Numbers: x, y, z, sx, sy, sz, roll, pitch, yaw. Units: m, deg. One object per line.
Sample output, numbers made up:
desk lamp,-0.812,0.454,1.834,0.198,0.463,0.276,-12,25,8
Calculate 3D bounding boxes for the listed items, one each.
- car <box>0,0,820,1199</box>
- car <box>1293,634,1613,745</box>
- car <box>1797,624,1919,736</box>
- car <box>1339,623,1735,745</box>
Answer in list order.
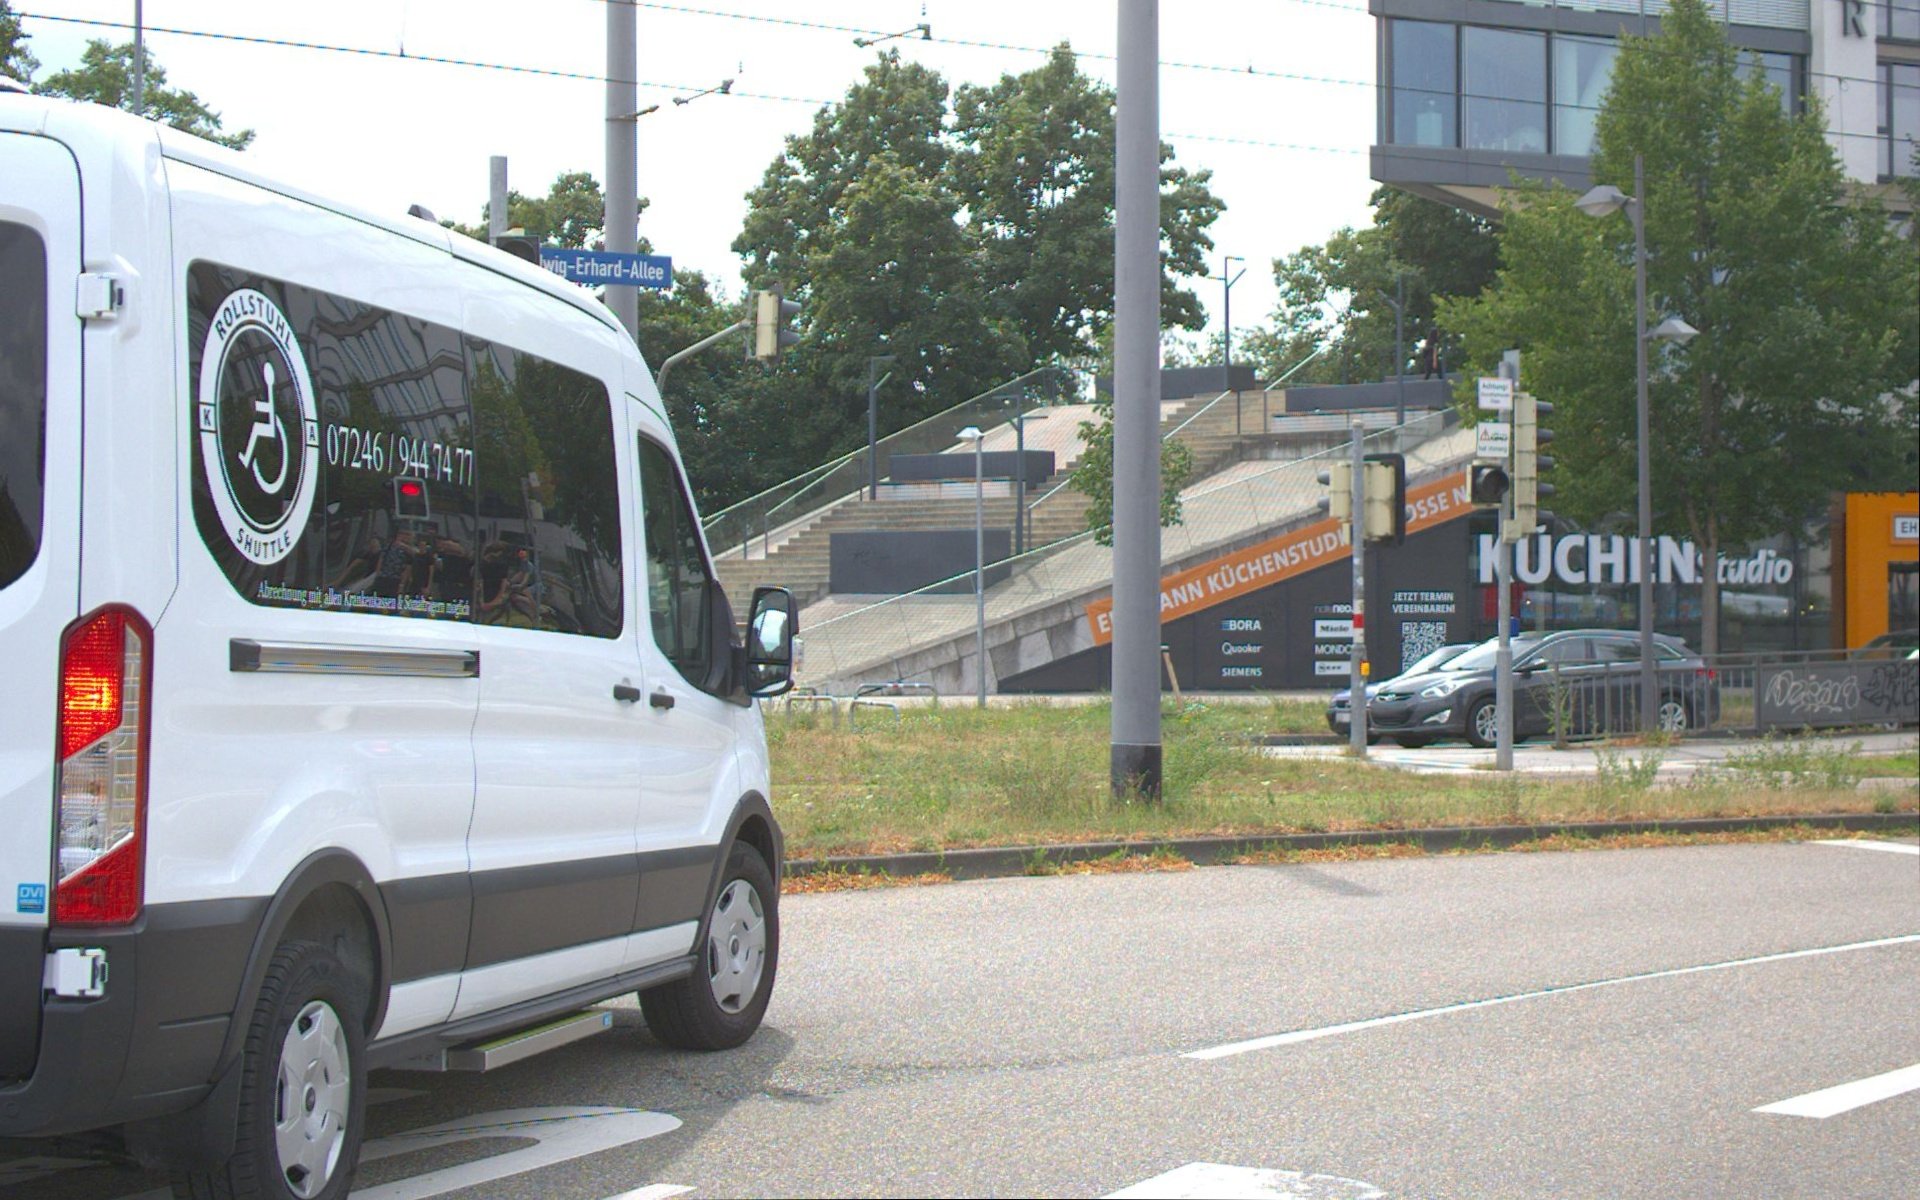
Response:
car,-2.080,0.087,9.347,2.127,2.688,5.629,0,0,11
car,6.772,1.206,47.234,3.986,1.453,1.849,0,0,-26
car,13.633,1.077,46.975,3.986,1.453,1.849,0,0,-25
car,7.287,1.034,43.344,4.721,1.453,1.849,0,0,-26
